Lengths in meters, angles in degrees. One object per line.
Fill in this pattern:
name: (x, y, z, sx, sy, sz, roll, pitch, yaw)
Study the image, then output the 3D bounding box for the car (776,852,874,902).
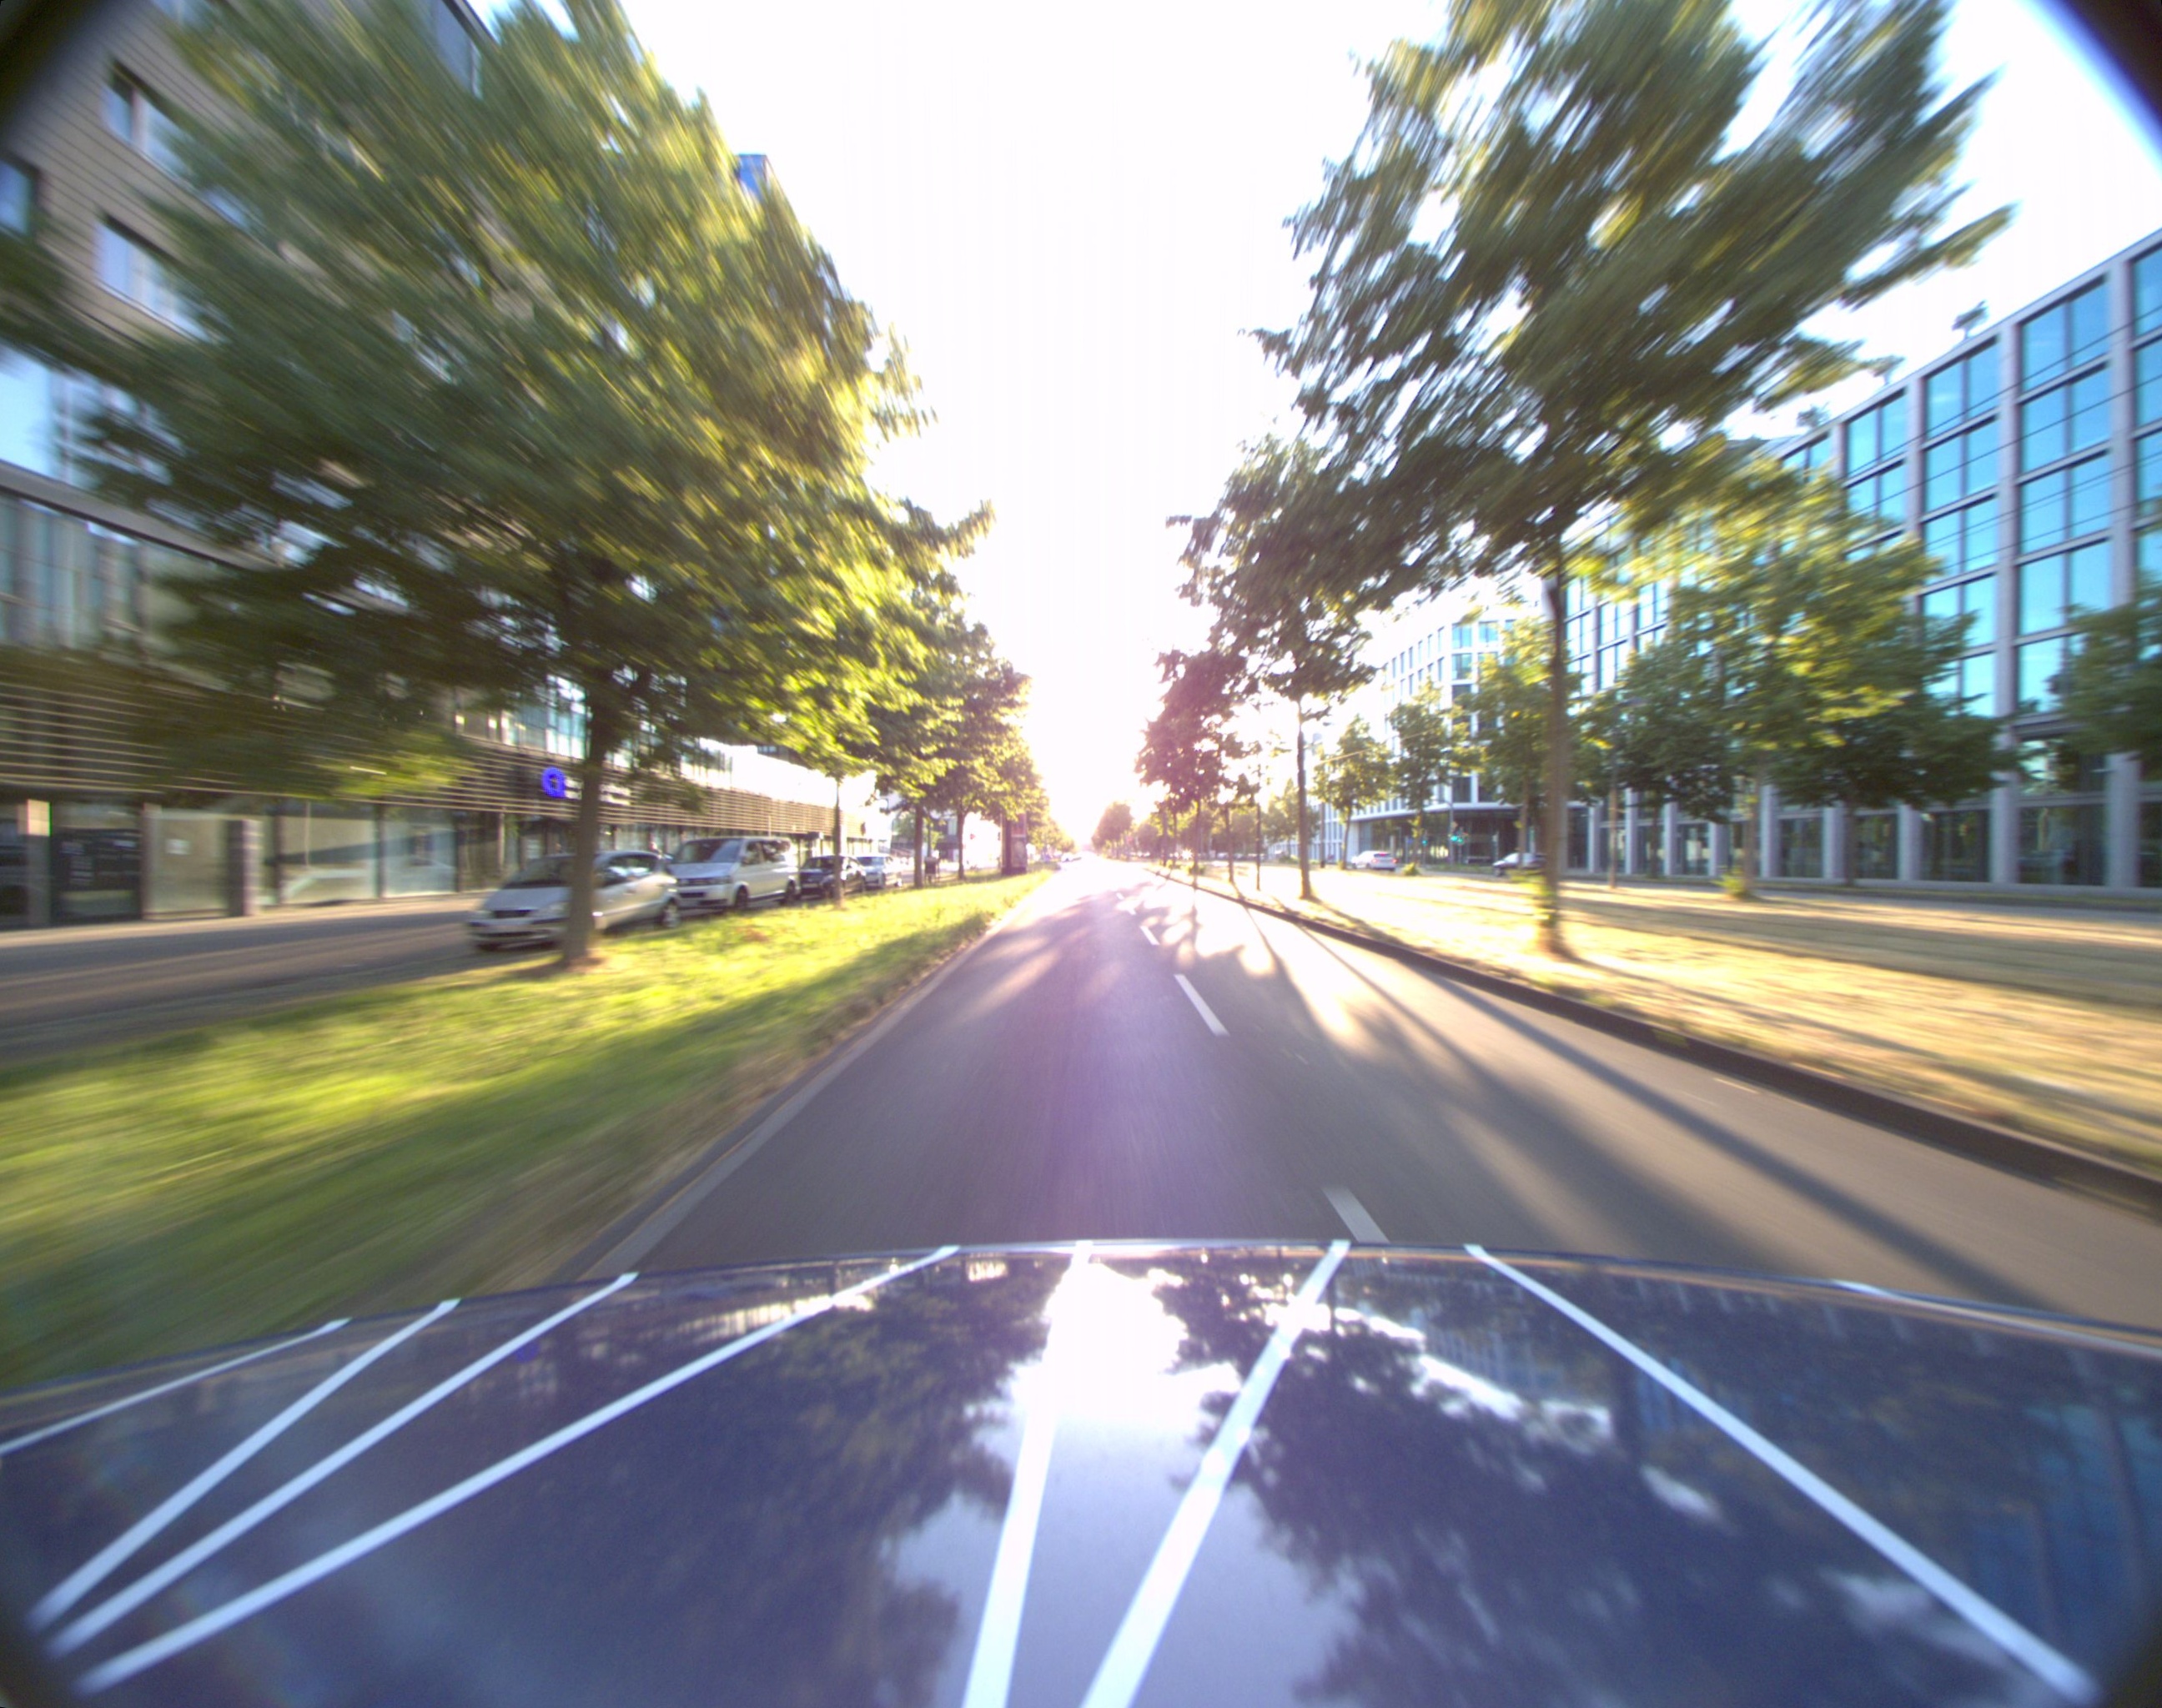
car: (-8.673, 0.723, 26.149, 1.864, 1.488, 4.289, 1, 1, 1)

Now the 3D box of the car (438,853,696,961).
car: (-8.896, 0.807, 13.666, 1.843, 1.562, 4.060, -1, 1, 0)

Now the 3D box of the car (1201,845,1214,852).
car: (24.051, -1.019, 144.241, 1.645, 1.440, 3.999, 0, 0, -2)

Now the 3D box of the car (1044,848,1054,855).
car: (-7.202, -0.608, 172.563, 1.998, 1.594, 4.000, 0, 0, 0)

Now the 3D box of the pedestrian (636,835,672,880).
pedestrian: (-17.430, 0.129, 31.038, 0.899, 1.786, 0.912, 0, 1, -1)

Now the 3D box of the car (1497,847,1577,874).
car: (25.919, 0.343, 43.400, 1.936, 1.414, 4.387, 0, 1, 1)

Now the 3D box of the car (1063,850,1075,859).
car: (-2.021, 0.085, 129.701, 1.998, 1.474, 4.334, 0, 0, 0)

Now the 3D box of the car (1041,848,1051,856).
car: (-7.097, -0.404, 154.268, 1.998, 1.455, 4.000, 0, 0, 0)

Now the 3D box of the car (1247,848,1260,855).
car: (37.690, -0.513, 166.300, 1.763, 1.395, 3.999, 0, 0, -1)

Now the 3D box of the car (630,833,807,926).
car: (-8.779, 0.521, 19.000, 1.991, 1.978, 4.931, -1, 1, 0)

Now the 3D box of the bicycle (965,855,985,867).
bicycle: (-8.001, 0.548, 57.420, 1.718, 0.905, 0.363, 0, 1, 34)

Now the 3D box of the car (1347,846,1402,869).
car: (19.890, 0.200, 51.727, 1.907, 1.477, 4.630, 0, 1, -1)

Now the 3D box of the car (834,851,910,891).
car: (-8.764, 0.647, 32.342, 1.922, 1.488, 5.039, -1, 1, -1)

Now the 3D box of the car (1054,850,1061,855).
car: (-6.813, -0.374, 223.473, 1.998, 1.594, 4.000, 0, 0, 0)
